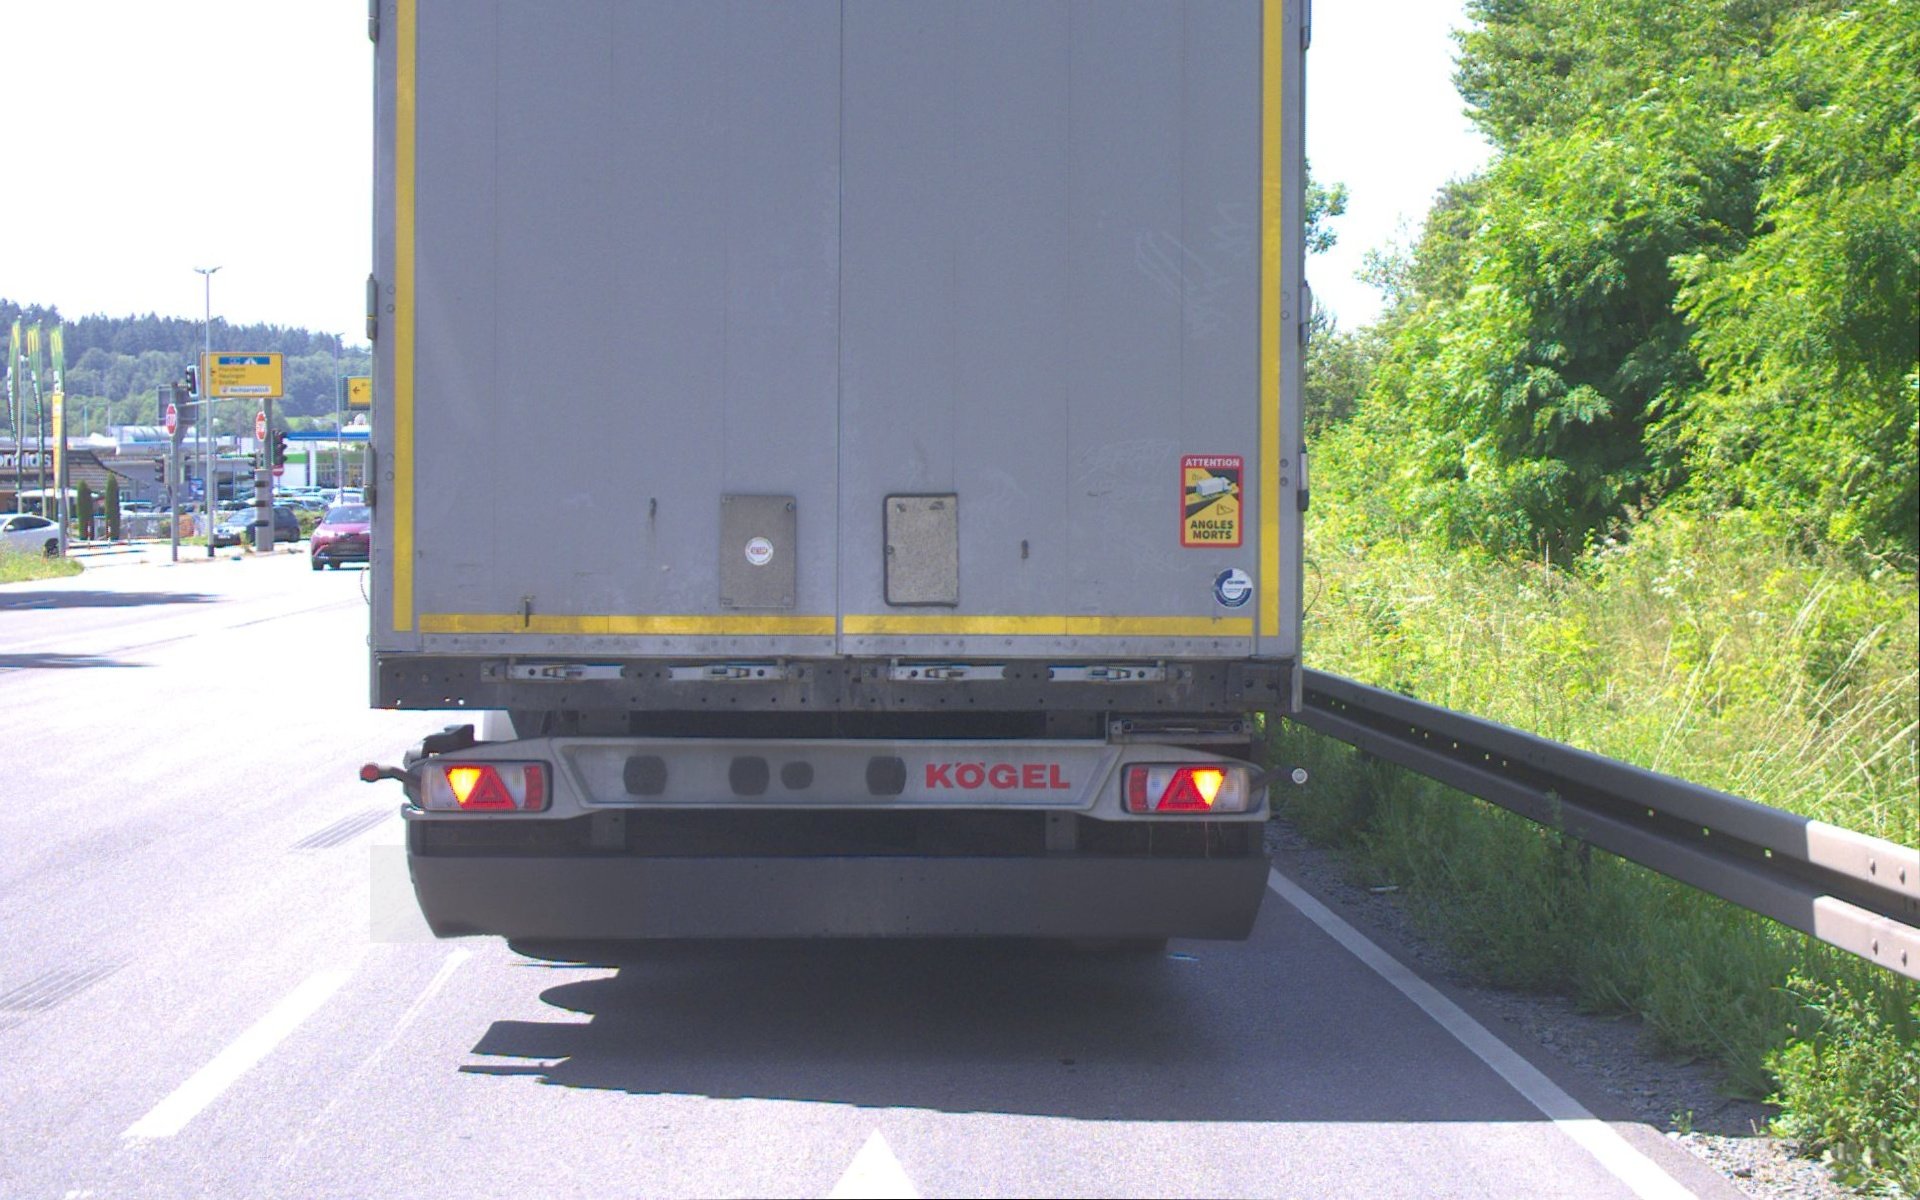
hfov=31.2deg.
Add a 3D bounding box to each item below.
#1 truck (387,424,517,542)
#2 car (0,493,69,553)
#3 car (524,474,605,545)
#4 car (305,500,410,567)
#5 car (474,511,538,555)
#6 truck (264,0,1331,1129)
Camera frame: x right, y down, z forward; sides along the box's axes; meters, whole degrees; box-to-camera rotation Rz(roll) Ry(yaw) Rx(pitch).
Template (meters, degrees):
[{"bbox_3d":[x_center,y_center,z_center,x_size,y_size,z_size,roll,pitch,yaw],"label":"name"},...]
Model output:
[{"bbox_3d":[-19.112,-4.385,130.449,2.968,4.162,16.577,0,1,-2],"label":"truck"},{"bbox_3d":[-32.086,-2.591,115.175,1.997,2.007,3.992,1,2,35],"label":"car"},{"bbox_3d":[-11.615,-2.659,101.187,1.993,2.007,4.001,1,1,-2],"label":"car"},{"bbox_3d":[-14.176,-1.552,81.032,1.903,1.503,3.765,1,1,-2],"label":"car"},{"bbox_3d":[-15.051,-2.216,114.108,1.766,1.381,4.000,1,1,-3],"label":"car"},{"bbox_3d":[-0.535,-1.050,17.372,2.755,4.623,16.656,1,1,-1],"label":"truck"}]
